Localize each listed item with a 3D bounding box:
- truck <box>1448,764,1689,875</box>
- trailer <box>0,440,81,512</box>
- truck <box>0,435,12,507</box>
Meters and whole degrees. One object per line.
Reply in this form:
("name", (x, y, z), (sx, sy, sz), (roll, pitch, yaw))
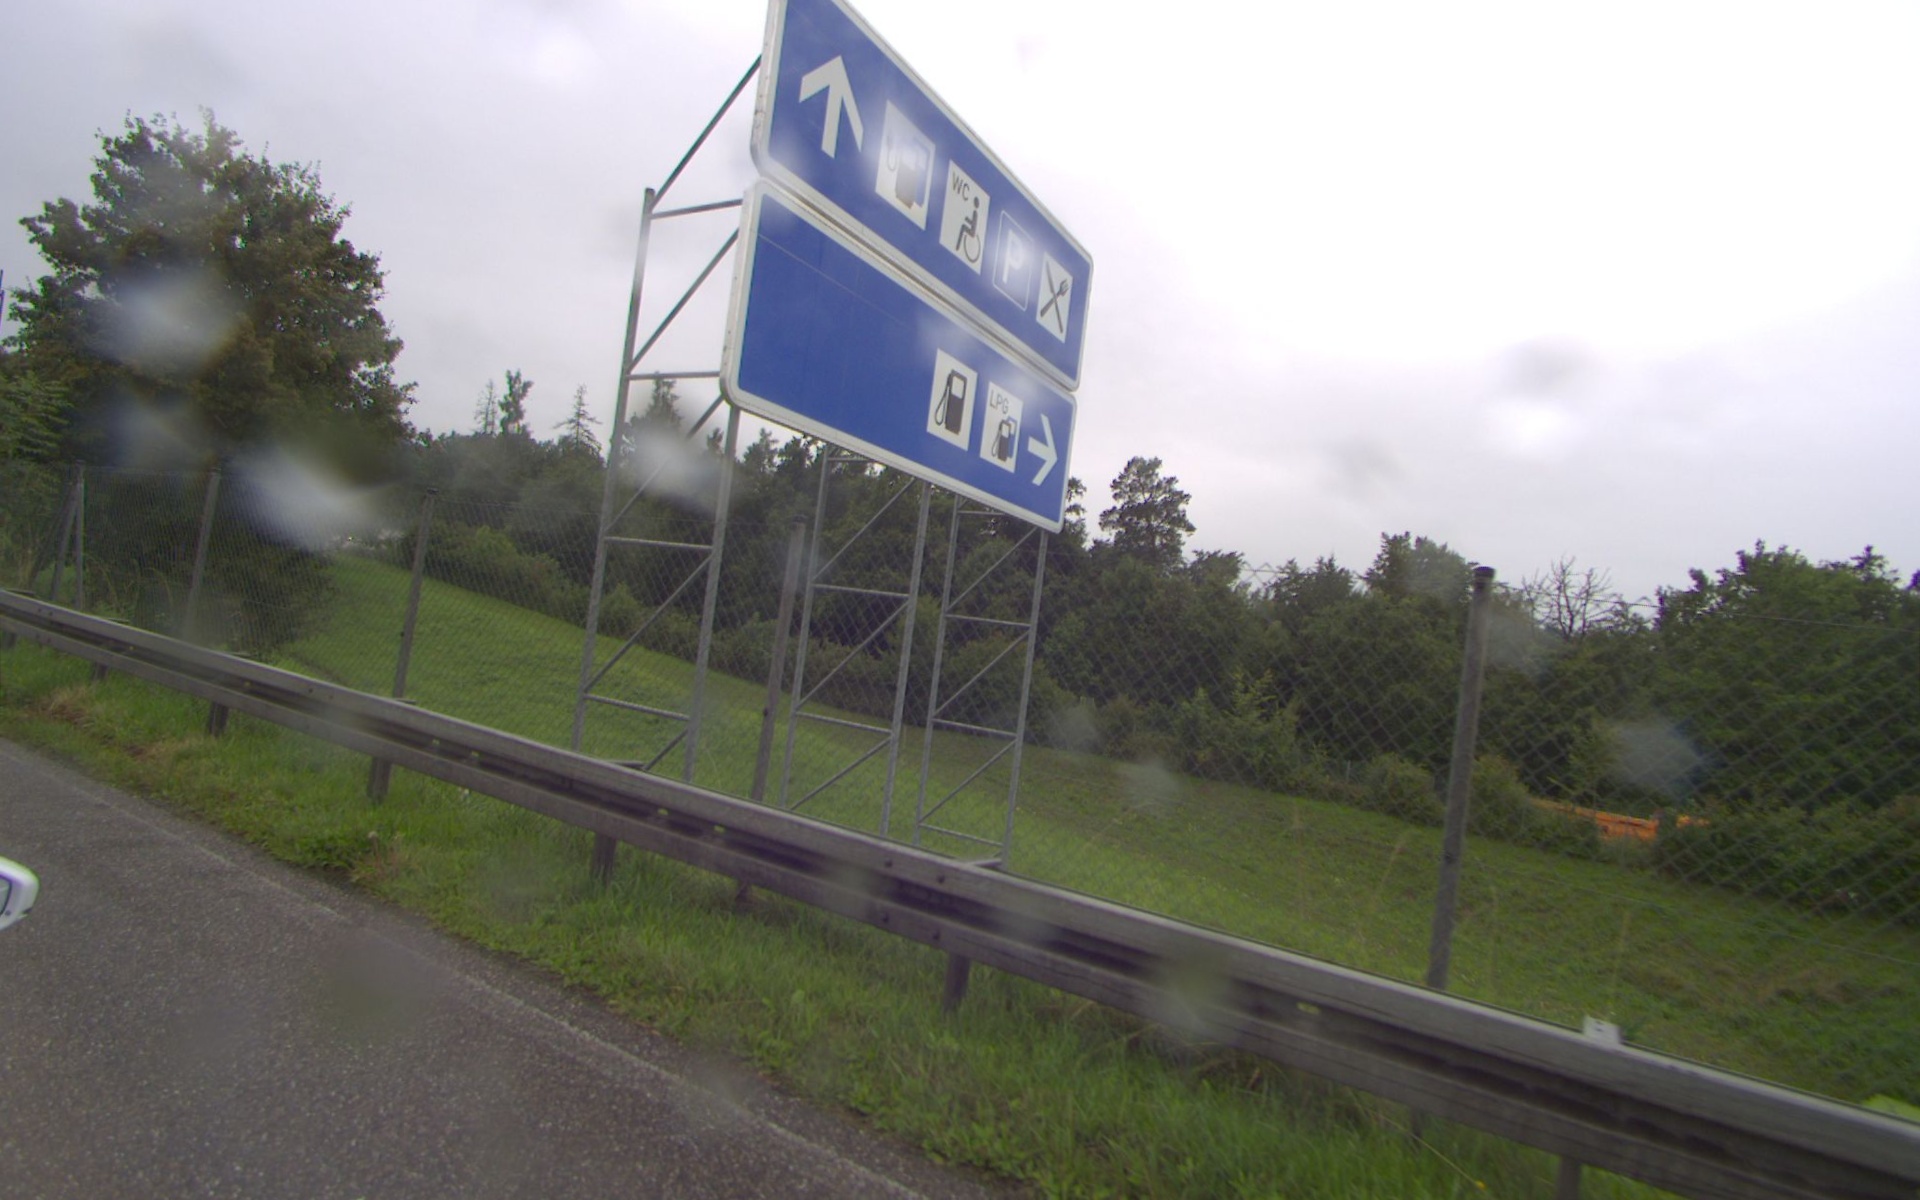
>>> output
("truck", (25.101, 9.049, 41.983), (8.124, 2.685, 2.840), (8, -7, 31))
("trailer", (-53.268, -7.067, 57.276), (2.161, 3.433, 7.524), (8, -1, -22))
("truck", (-48.602, -6.552, 49.002), (2.130, 3.555, 4.611), (8, 0, -29))
